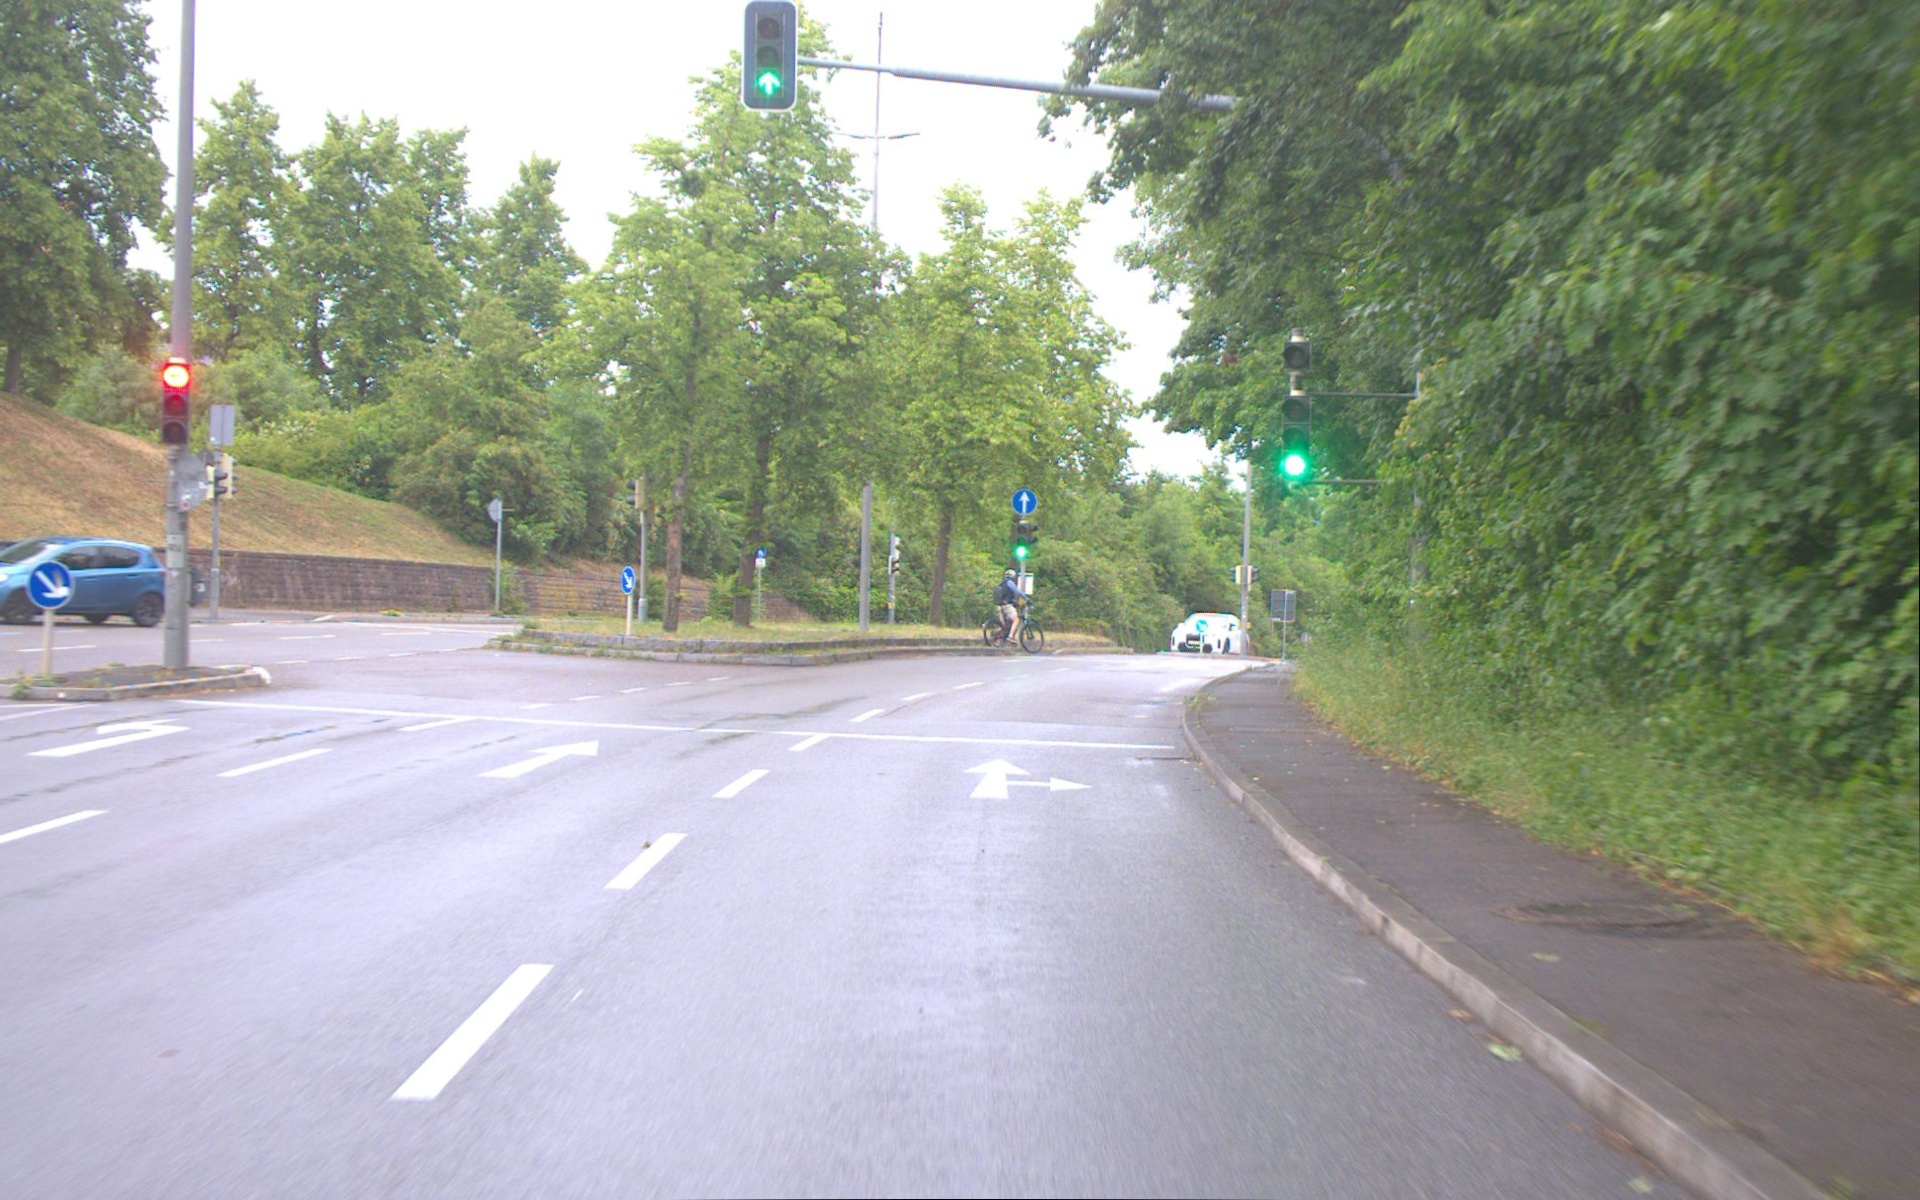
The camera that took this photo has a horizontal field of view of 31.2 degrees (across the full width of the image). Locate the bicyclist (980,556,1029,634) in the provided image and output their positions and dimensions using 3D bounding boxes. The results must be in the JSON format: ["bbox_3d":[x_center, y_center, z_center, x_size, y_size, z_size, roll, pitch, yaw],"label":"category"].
[{"bbox_3d":[1.021,-0.113,78.882,0.799,1.746,0.725,4,-4,-43],"label":"bicyclist"}]

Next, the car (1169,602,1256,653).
[{"bbox_3d":[9.146,1.026,124.284,1.947,1.630,5.000,3,-1,18],"label":"car"}]

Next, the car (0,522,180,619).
[{"bbox_3d":[-15.412,-0.518,57.952,1.999,1.485,3.927,3,0,42],"label":"car"}]

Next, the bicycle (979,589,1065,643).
[{"bbox_3d":[1.430,0.371,78.940,2.134,1.139,0.554,3,0,-43],"label":"bicycle"}]
